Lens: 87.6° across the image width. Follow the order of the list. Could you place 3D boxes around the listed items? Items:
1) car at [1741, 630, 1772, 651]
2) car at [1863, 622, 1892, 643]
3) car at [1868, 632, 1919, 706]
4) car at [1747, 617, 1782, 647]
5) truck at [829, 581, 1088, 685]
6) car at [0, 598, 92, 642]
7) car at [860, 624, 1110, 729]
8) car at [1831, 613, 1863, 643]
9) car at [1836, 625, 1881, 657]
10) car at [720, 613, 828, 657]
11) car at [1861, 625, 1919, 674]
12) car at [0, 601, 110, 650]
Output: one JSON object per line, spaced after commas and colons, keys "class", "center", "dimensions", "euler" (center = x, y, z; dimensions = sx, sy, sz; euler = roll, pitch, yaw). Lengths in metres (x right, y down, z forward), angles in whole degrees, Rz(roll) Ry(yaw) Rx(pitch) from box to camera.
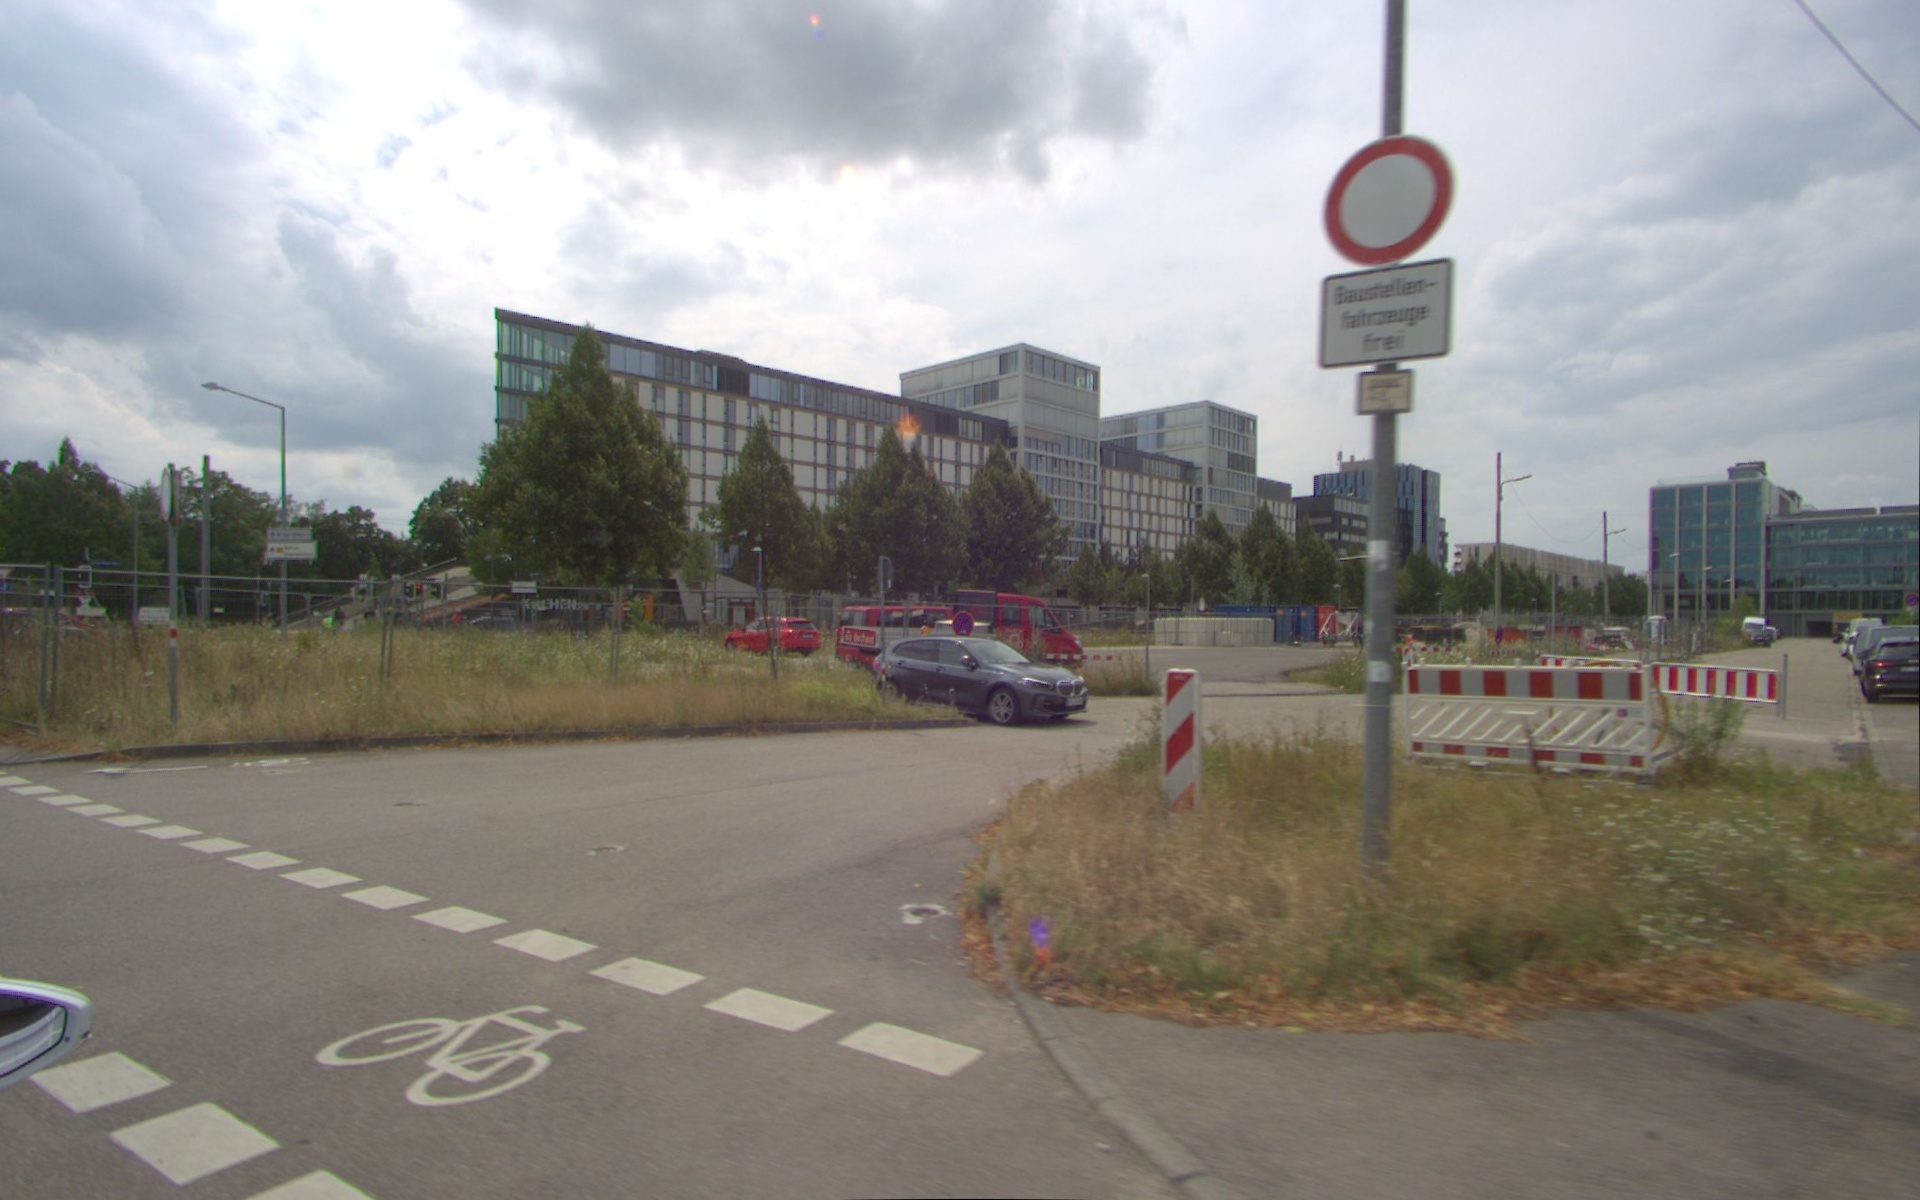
{"class": "car", "center": [67.590, 3.412, 84.947], "dimensions": [1.808, 1.705, 3.810], "euler": [-3, -2, 42]}
{"class": "car", "center": [80.454, 2.864, 87.831], "dimensions": [1.808, 1.705, 3.810], "euler": [-3, -2, 42]}
{"class": "car", "center": [24.563, 1.707, 25.559], "dimensions": [3.805, 1.705, 1.811], "euler": [0, -2, -44]}
{"class": "car", "center": [87.666, 3.453, 109.077], "dimensions": [2.584, 3.123, 5.819], "euler": [-2, -2, 42]}
{"class": "truck", "center": [0.063, 0.884, 26.601], "dimensions": [6.596, 2.457, 2.518], "euler": [2, -1, -34]}
{"class": "car", "center": [-31.496, 0.653, 33.043], "dimensions": [1.591, 1.372, 4.353], "euler": [0, 1, 8]}
{"class": "car", "center": [0.362, 1.268, 17.997], "dimensions": [4.283, 1.517, 1.843], "euler": [1, 1, 40]}
{"class": "car", "center": [103.262, 3.247, 116.576], "dimensions": [2.584, 3.344, 5.819], "euler": [-2, -2, 42]}
{"class": "car", "center": [50.958, 2.315, 56.815], "dimensions": [1.808, 1.705, 3.810], "euler": [-3, -2, 42]}
{"class": "car", "center": [-7.188, 1.322, 38.497], "dimensions": [4.390, 1.582, 1.779], "euler": [0, -1, 42]}
{"class": "car", "center": [34.944, 1.828, 37.446], "dimensions": [1.808, 1.705, 3.810], "euler": [-3, -2, 42]}
{"class": "car", "center": [-34.789, 0.902, 37.687], "dimensions": [1.855, 1.684, 3.996], "euler": [1, 1, 11]}
